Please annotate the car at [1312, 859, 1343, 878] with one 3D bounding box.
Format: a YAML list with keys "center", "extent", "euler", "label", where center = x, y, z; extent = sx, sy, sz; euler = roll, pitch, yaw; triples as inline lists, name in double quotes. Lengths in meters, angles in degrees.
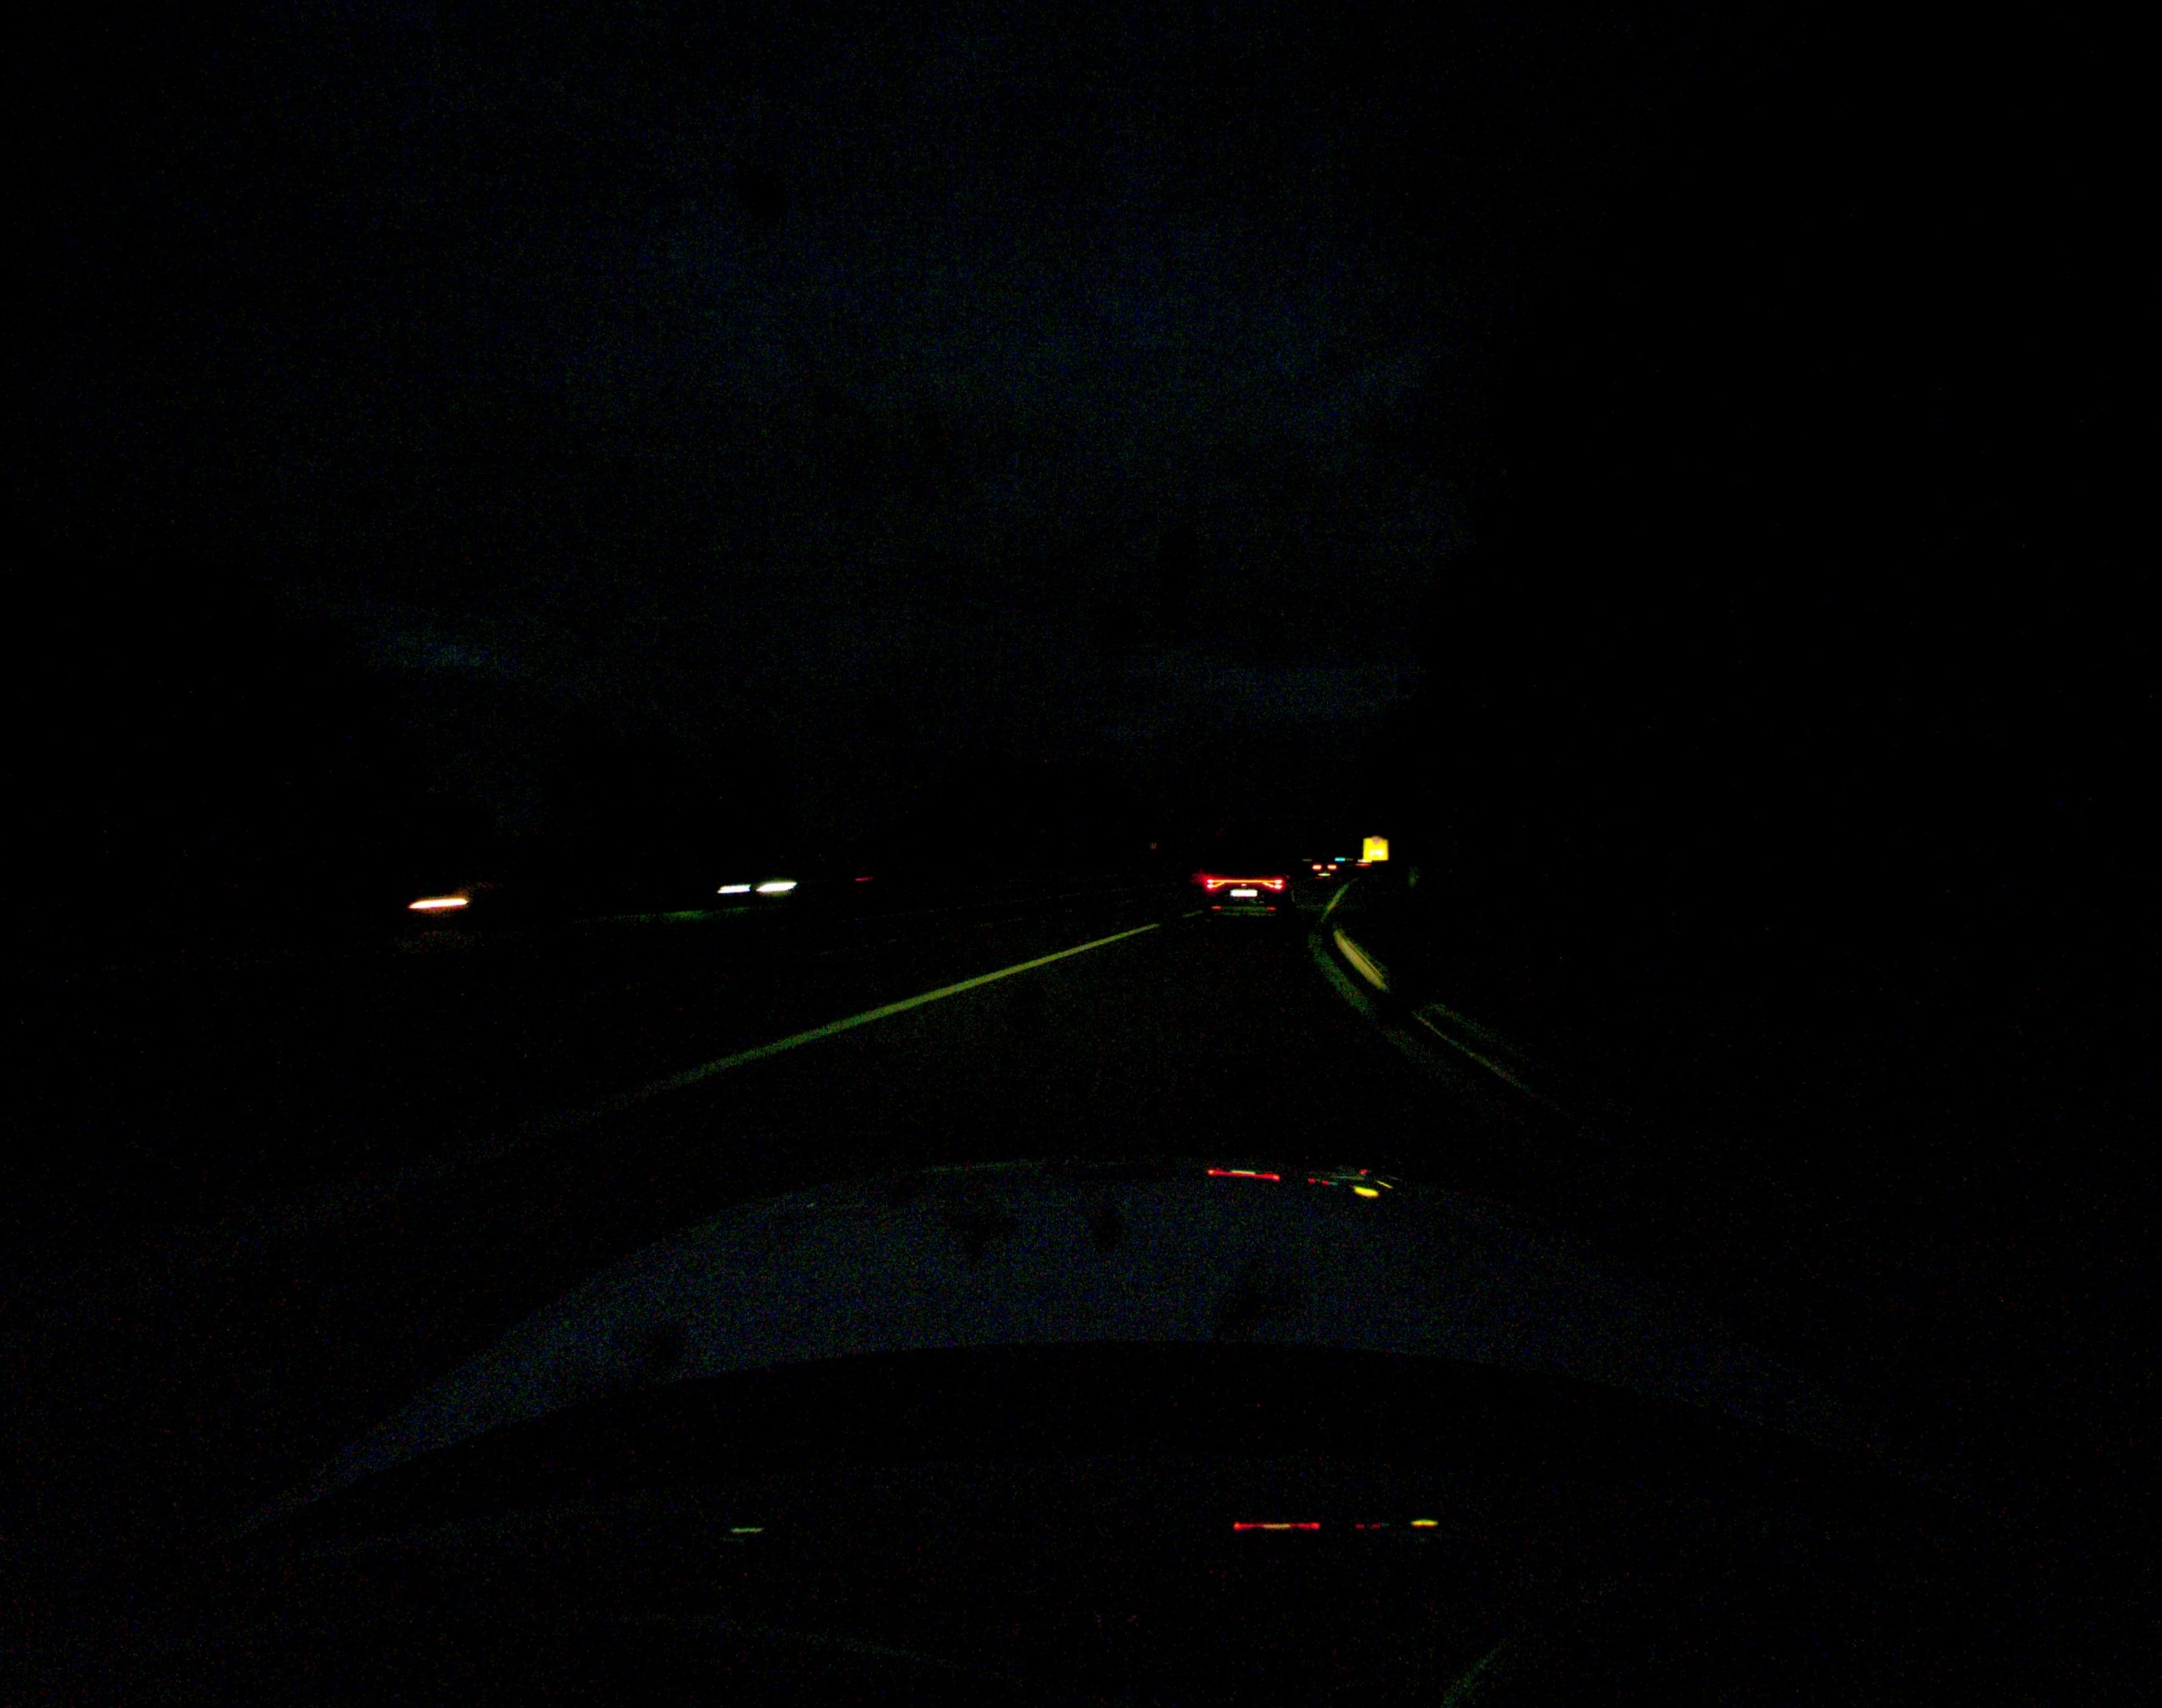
- center: [19.917, 1.169, 65.722]
  extent: [1.737, 1.453, 4.458]
  euler: [-1, -1, 26]
  label: "car"

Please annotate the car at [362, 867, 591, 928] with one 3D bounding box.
- center: [-16.292, 1.122, 22.313]
  extent: [1.977, 1.453, 4.756]
  euler: [-2, -1, 18]
  label: "car"

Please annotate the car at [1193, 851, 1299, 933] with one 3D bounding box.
- center: [3.919, 0.784, 18.742]
  extent: [1.886, 1.620, 4.577]
  euler: [1, 0, 17]
  label: "car"

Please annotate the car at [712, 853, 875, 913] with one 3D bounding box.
- center: [-8.438, 0.811, 24.439]
  extent: [1.977, 1.570, 4.845]
  euler: [-2, -1, 19]
  label: "car"

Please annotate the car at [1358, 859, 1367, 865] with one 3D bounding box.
- center: [80.469, 2.278, 232.915]
  extent: [1.976, 1.750, 4.021]
  euler: [-5, -3, 21]
  label: "car"
